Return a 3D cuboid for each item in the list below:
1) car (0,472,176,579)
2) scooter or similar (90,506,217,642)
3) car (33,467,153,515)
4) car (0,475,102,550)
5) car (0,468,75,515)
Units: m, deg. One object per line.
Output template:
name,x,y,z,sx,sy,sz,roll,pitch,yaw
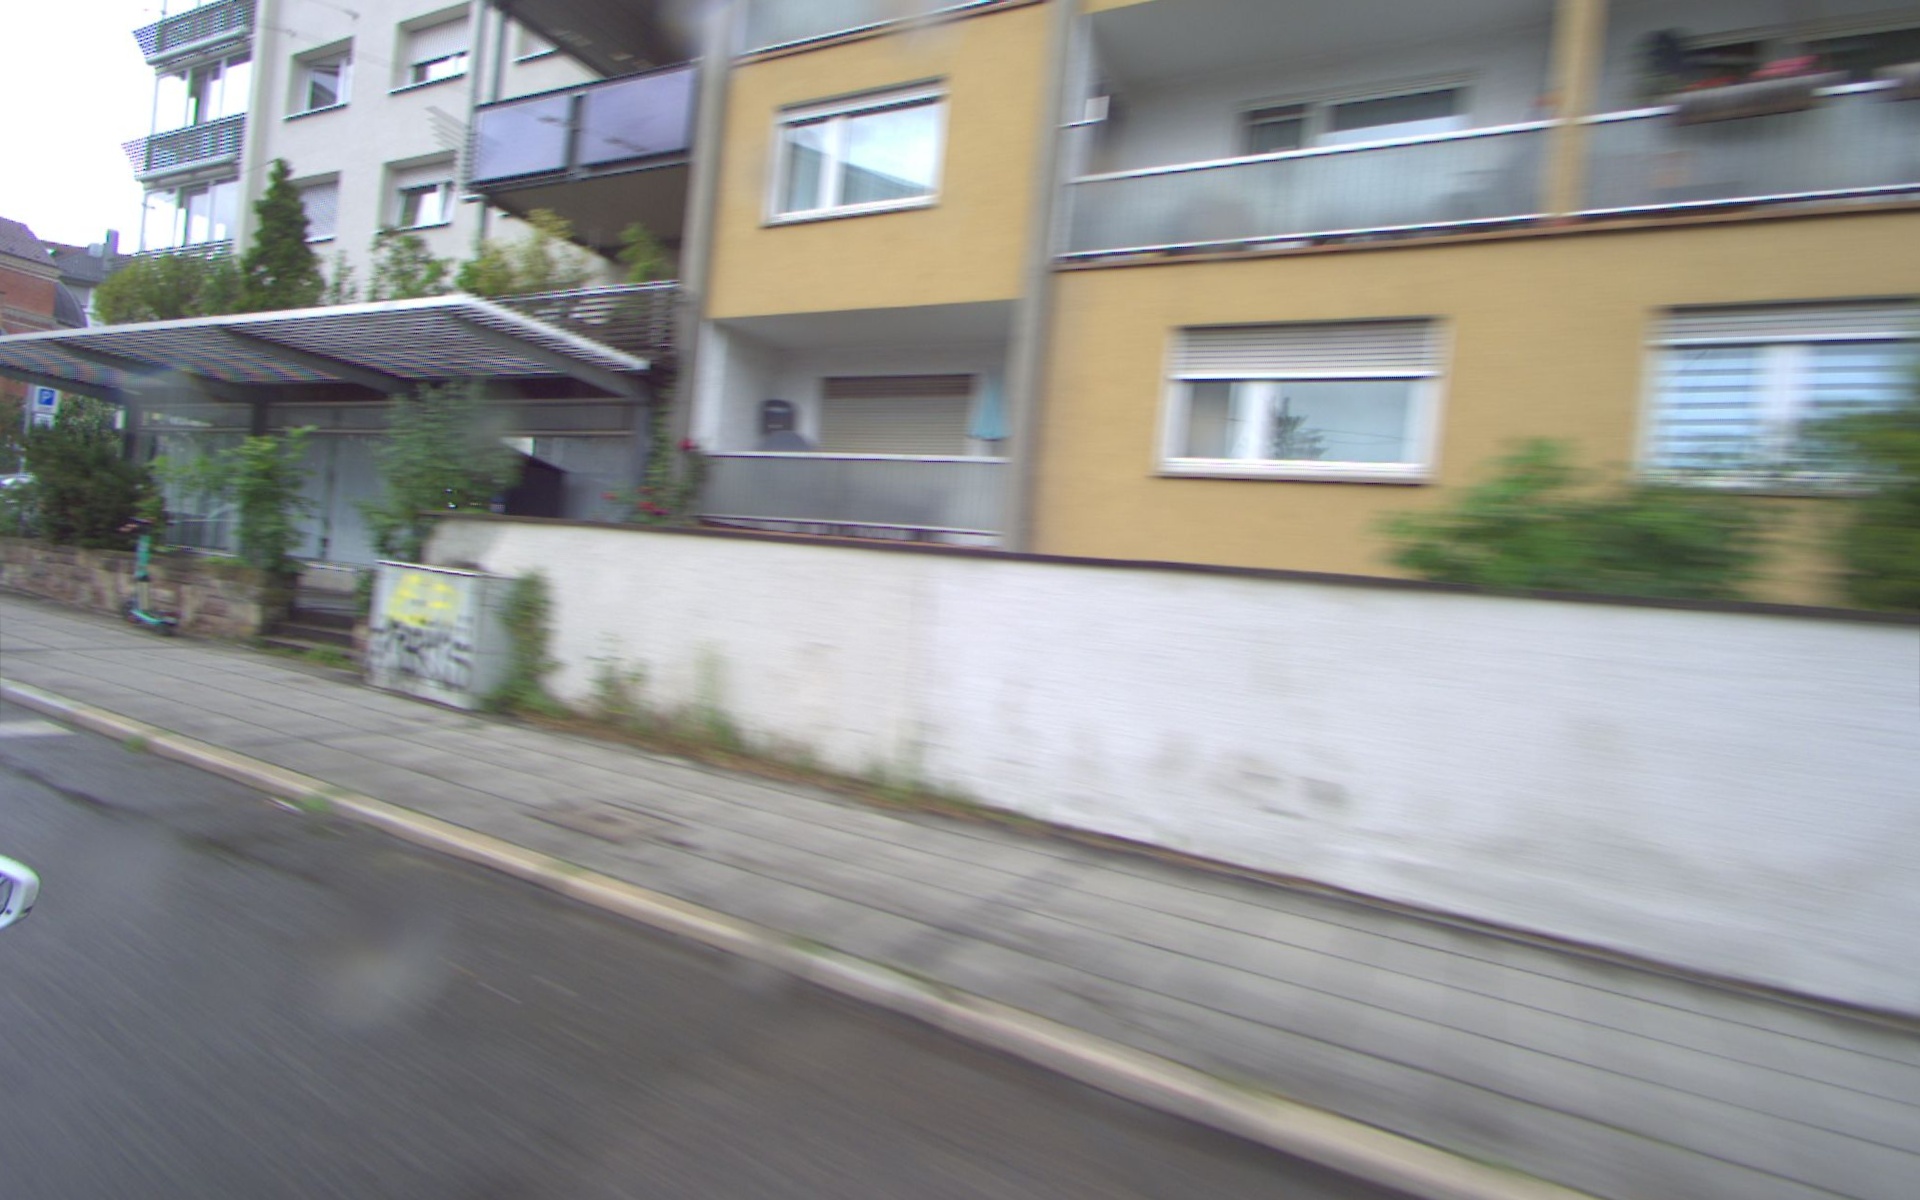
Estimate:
car,-15.373,-1.290,16.925,4.373,1.523,1.854,5,2,29
scooter or similar,-8.989,-0.310,11.195,1.630,1.346,0.534,7,5,29
car,-33.148,-4.140,38.601,1.916,1.516,3.911,5,4,-15
car,-22.902,-2.145,23.993,1.973,1.476,4.427,8,3,-17
car,-32.019,-3.664,33.594,1.911,1.388,4.457,4,4,-15
